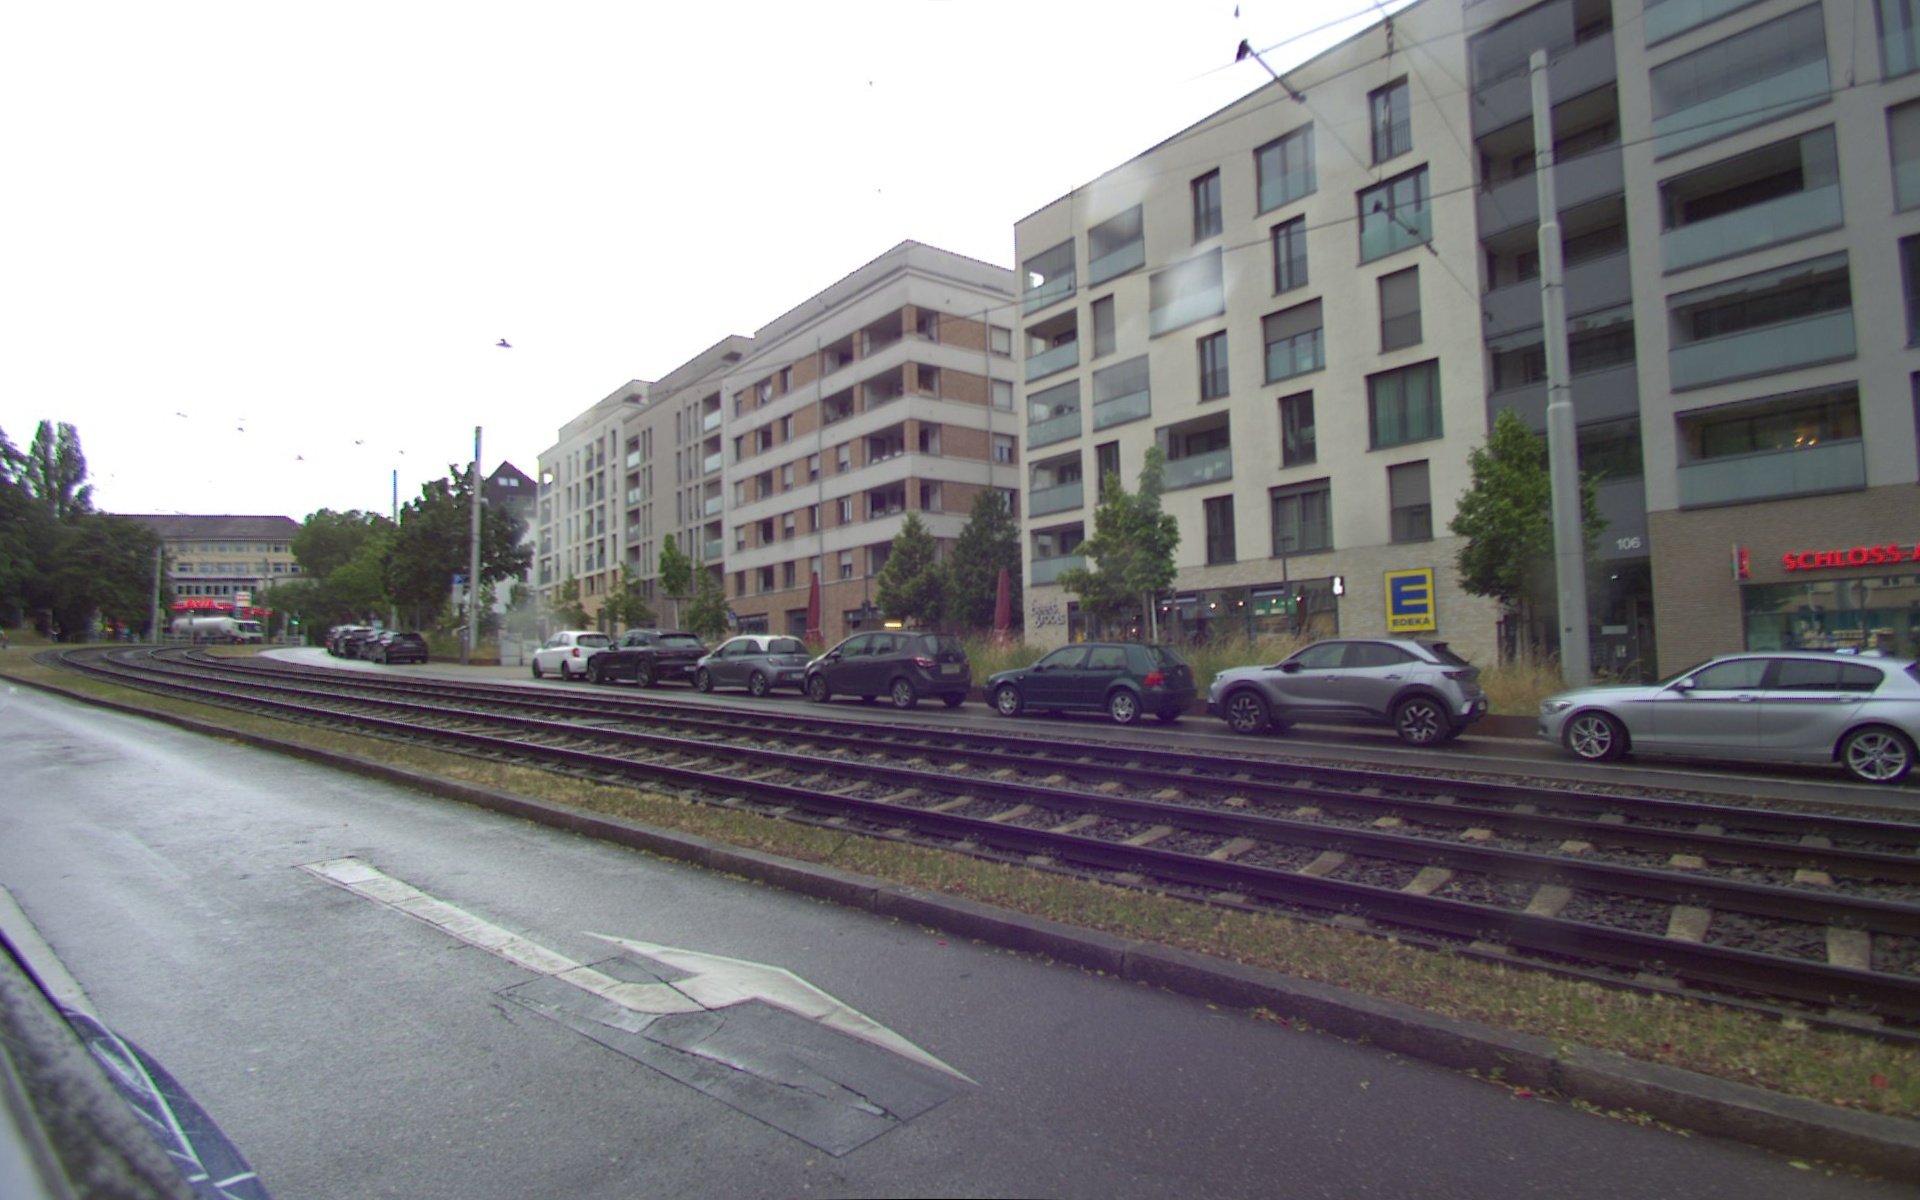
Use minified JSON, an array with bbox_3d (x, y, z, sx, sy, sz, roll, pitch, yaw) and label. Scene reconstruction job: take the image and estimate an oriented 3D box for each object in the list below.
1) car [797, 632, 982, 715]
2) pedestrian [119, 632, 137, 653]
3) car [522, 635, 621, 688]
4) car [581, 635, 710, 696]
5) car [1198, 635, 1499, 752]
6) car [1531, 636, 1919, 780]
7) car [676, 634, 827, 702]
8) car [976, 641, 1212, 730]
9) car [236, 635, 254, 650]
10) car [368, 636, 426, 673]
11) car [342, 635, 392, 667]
[{"bbox_3d":[-1.565,1.489,21.653,3.926,1.575,1.663,-1,-1,40],"label":"car"},{"bbox_3d":[-72.594,3.729,88.298,0.807,1.777,0.748,1,-4,2],"label":"pedestrian"},{"bbox_3d":[-12.372,1.910,32.094,1.626,1.516,3.784,1,-1,-43],"label":"car"},{"bbox_3d":[-8.909,1.774,28.490,1.660,1.516,4.408,1,-1,-44],"label":"car"},{"bbox_3d":[5.904,1.330,15.589,4.042,1.541,1.665,-1,-1,36],"label":"car"},{"bbox_3d":[9.608,1.206,12.387,4.326,1.475,1.663,-1,-1,40],"label":"car"},{"bbox_3d":[-5.260,1.648,25.337,3.926,1.516,1.663,-1,-1,40],"label":"car"},{"bbox_3d":[2.372,1.478,18.531,4.030,1.391,1.663,-1,-1,40],"label":"car"},{"bbox_3d":[-81.569,4.846,115.480,1.641,1.619,3.818,-1,0,-34],"label":"car"},{"bbox_3d":[-25.555,2.436,45.891,1.630,1.475,3.676,-1,0,-40],"label":"car"},{"bbox_3d":[-30.605,2.622,52.196,1.630,1.475,3.676,-1,0,-40],"label":"car"}]
